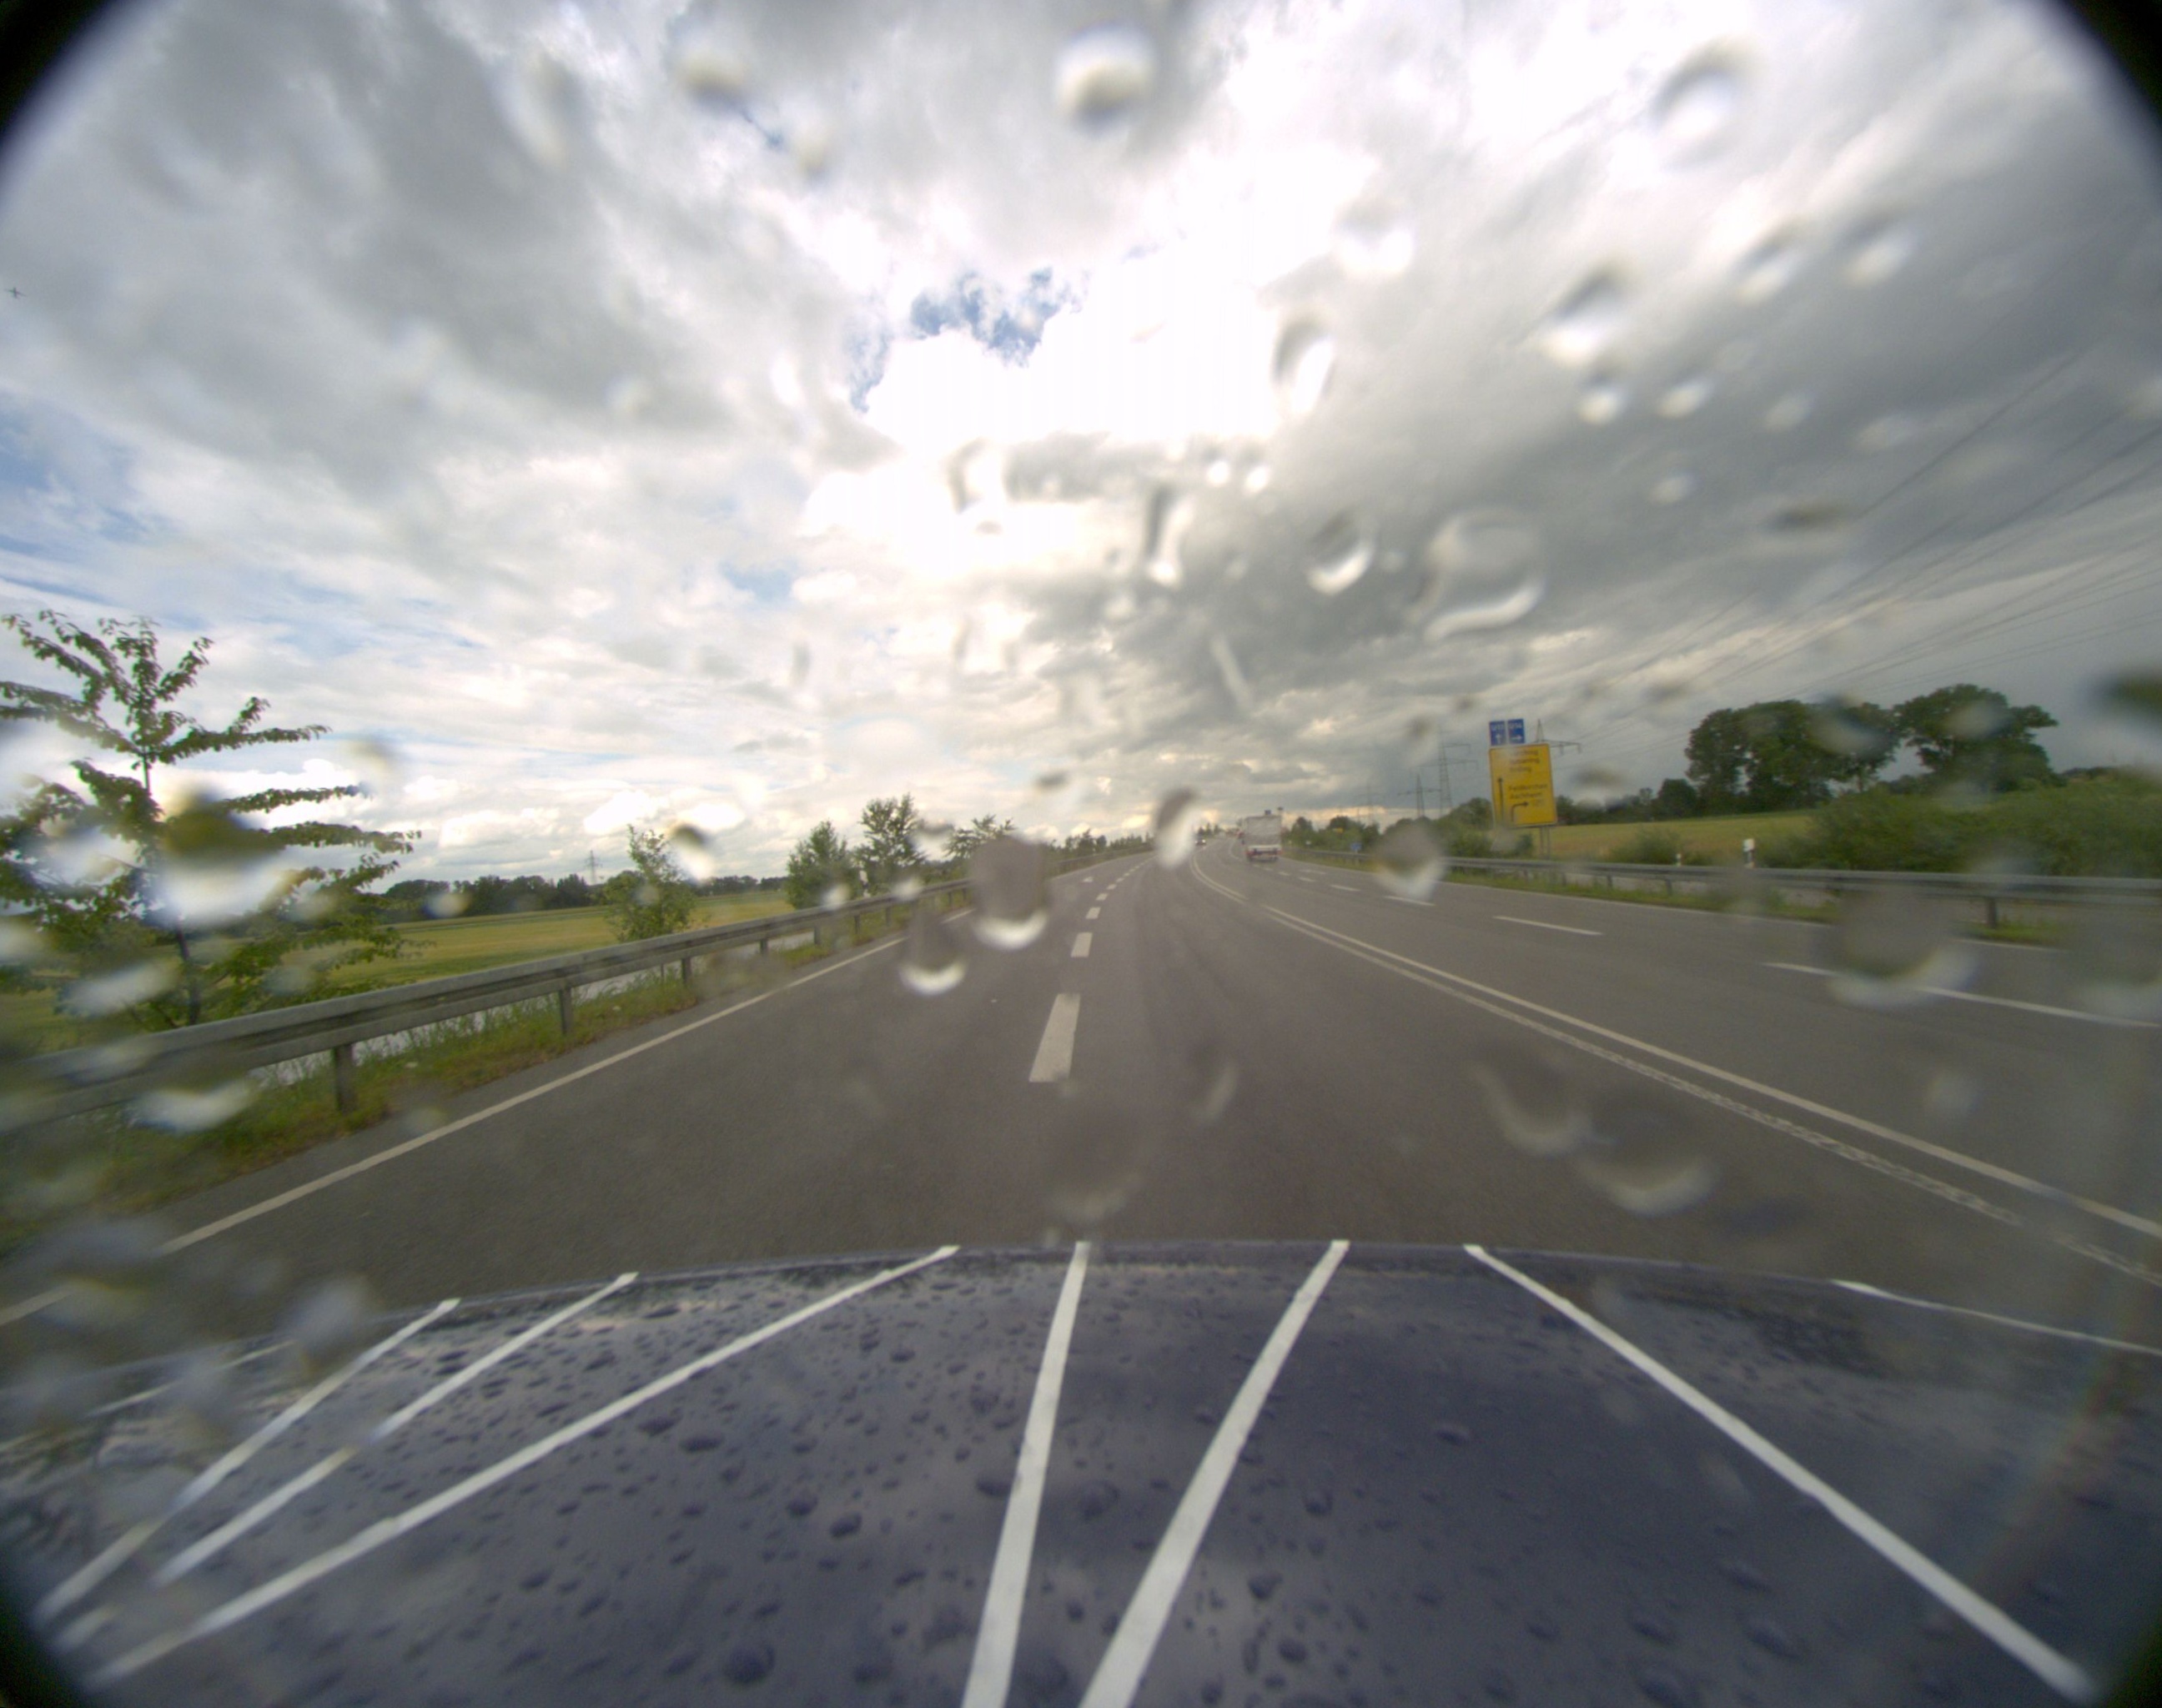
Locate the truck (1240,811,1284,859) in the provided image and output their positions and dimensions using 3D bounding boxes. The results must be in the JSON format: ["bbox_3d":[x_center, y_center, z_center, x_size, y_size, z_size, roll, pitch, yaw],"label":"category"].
[{"bbox_3d":[13.472,-1.373,56.980,2.485,3.273,7.284,-1,1,8],"label":"truck"}]

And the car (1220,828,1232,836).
[{"bbox_3d":[31.990,-4.868,167.573,1.792,1.656,4.375,-4,1,21],"label":"car"}]

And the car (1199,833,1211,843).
[{"bbox_3d":[21.993,-2.786,134.577,1.747,1.488,4.054,-4,-1,13],"label":"car"}]

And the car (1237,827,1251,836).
[{"bbox_3d":[31.926,-4.446,148.814,1.898,1.433,4.905,-4,1,19],"label":"car"}]

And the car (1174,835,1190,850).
[{"bbox_3d":[12.325,-1.397,92.941,1.795,1.758,4.002,-1,0,7],"label":"car"}]

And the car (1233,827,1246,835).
[{"bbox_3d":[40.174,-5.898,192.741,1.945,1.651,4.651,-5,2,28],"label":"car"}]
